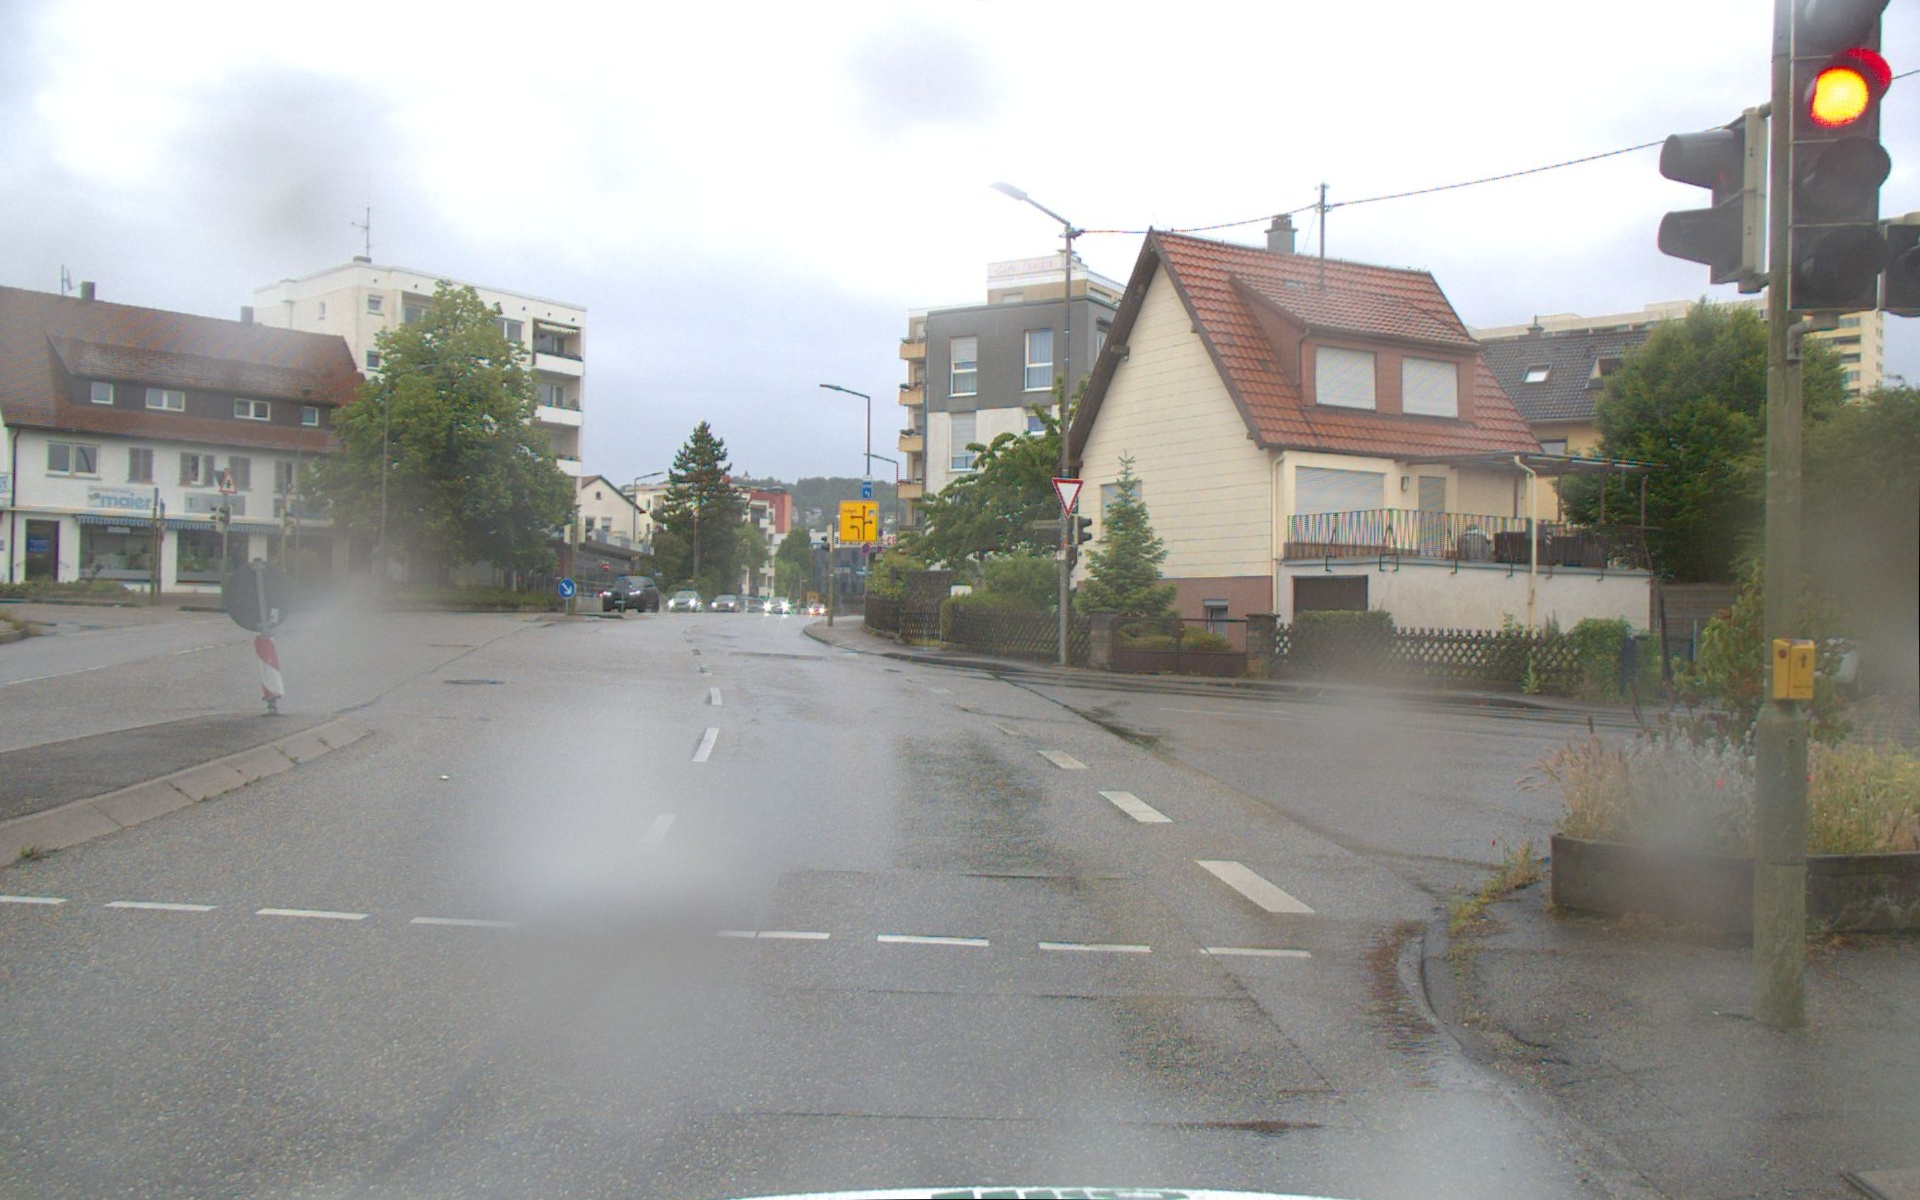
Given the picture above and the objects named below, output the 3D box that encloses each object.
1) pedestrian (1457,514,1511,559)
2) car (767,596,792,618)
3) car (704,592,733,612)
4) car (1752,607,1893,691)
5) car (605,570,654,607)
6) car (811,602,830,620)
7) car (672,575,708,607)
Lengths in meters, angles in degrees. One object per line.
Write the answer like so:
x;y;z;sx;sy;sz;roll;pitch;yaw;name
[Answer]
11.148;-1.348;35.165;0.902;0.898;0.632;1;-2;-20;pedestrian
-14.717;0.574;135.057;1.955;1.708;3.995;1;0;-5;car
-18.433;0.148;126.533;1.955;1.489;3.995;1;0;-5;car
15.618;0.851;29.864;1.780;1.386;3.986;1;0;35;car
-16.477;-0.555;82.585;1.956;1.768;5.173;1;0;-7;car
-14.819;1.135;175.157;1.955;1.843;3.995;1;0;-5;car
-17.113;-0.563;105.019;1.955;1.937;3.995;1;0;-5;car
